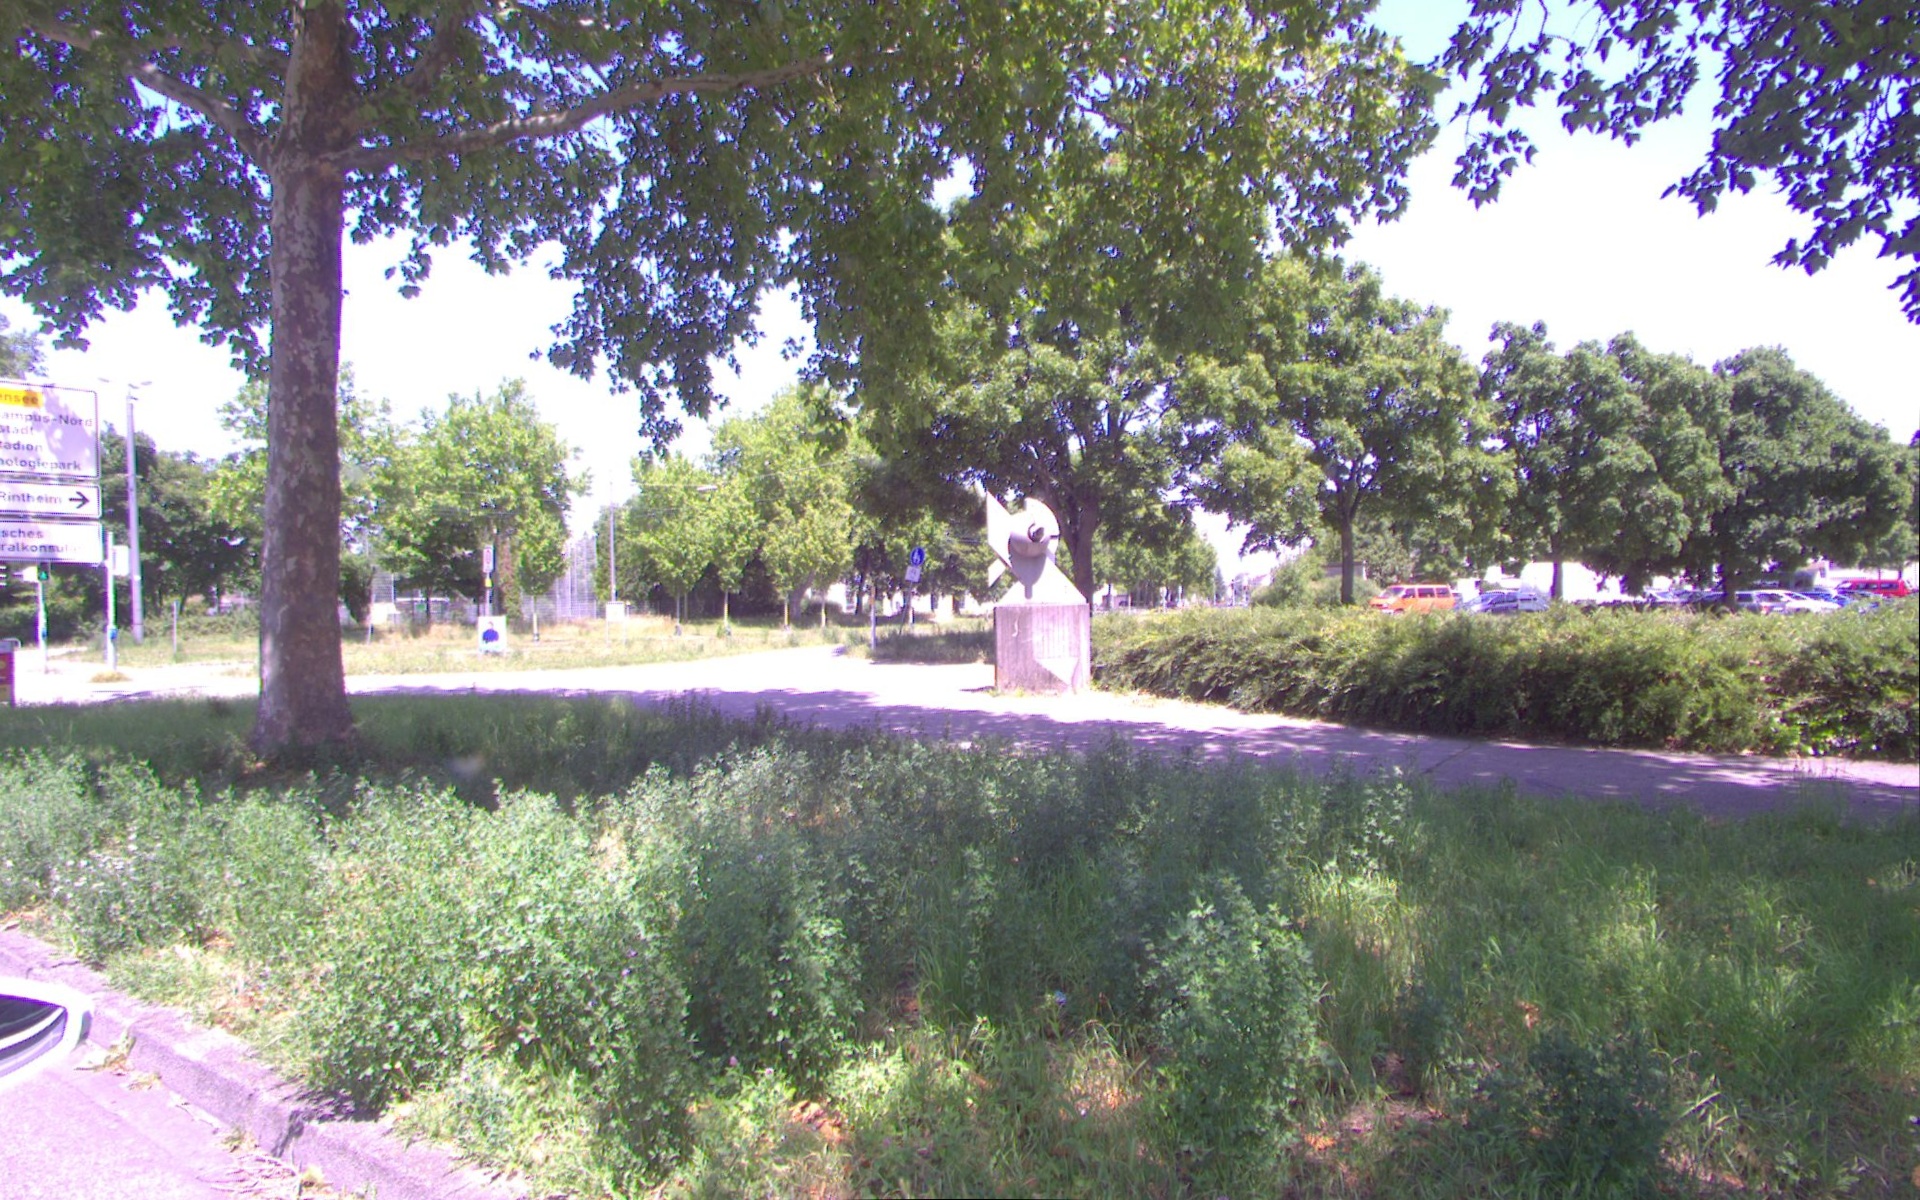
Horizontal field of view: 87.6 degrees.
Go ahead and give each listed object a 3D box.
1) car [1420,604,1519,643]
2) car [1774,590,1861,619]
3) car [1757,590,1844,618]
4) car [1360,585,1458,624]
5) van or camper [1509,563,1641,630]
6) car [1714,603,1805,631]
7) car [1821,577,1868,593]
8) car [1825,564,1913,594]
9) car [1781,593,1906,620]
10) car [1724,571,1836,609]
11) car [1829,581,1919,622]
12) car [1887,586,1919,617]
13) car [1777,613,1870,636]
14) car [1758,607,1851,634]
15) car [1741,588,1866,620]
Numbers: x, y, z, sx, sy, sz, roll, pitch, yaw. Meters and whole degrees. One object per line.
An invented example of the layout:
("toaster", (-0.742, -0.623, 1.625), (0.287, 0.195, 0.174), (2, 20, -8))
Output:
("car", (23.985, 1.085, 47.172), (4.000, 1.741, 1.952), (-1, 0, -18))
("car", (35.481, 0.189, 41.480), (0.938, 1.141, 2.590), (-1, 0, -25))
("car", (34.365, 0.172, 40.986), (0.991, 1.141, 2.590), (-1, 0, -25))
("car", (23.843, 0.226, 53.233), (4.582, 2.029, 2.069), (0, 0, -19))
("van or camper", (27.003, -0.164, 43.992), (5.039, 2.787, 2.199), (-1, 0, -18))
("car", (30.757, 0.643, 38.561), (0.938, 1.050, 2.590), (-1, 0, -25))
("car", (92.498, -1.555, 104.745), (3.309, 1.639, 1.439), (-1, 0, 19))
("car", (103.976, -2.354, 114.581), (3.155, 3.224, 7.143), (-1, 0, -41))
("car", (36.715, 0.292, 41.716), (1.655, 1.048, 3.553), (-1, 0, -25))
("car", (46.408, -0.552, 56.797), (2.209, 2.040, 4.409), (-1, 0, -22))
("car", (57.166, 0.128, 62.420), (1.936, 2.036, 3.993), (4, -7, -23))
("car", (44.645, 0.051, 45.431), (1.690, 1.384, 3.414), (-1, 0, -25))
("car", (33.549, 0.948, 38.943), (0.938, 0.852, 2.590), (-1, 0, -25))
("car", (32.382, 0.775, 38.445), (0.938, 1.000, 2.590), (-1, 0, -25))
("car", (34.339, 0.156, 40.866), (1.595, 1.242, 3.559), (0, 0, -25))
